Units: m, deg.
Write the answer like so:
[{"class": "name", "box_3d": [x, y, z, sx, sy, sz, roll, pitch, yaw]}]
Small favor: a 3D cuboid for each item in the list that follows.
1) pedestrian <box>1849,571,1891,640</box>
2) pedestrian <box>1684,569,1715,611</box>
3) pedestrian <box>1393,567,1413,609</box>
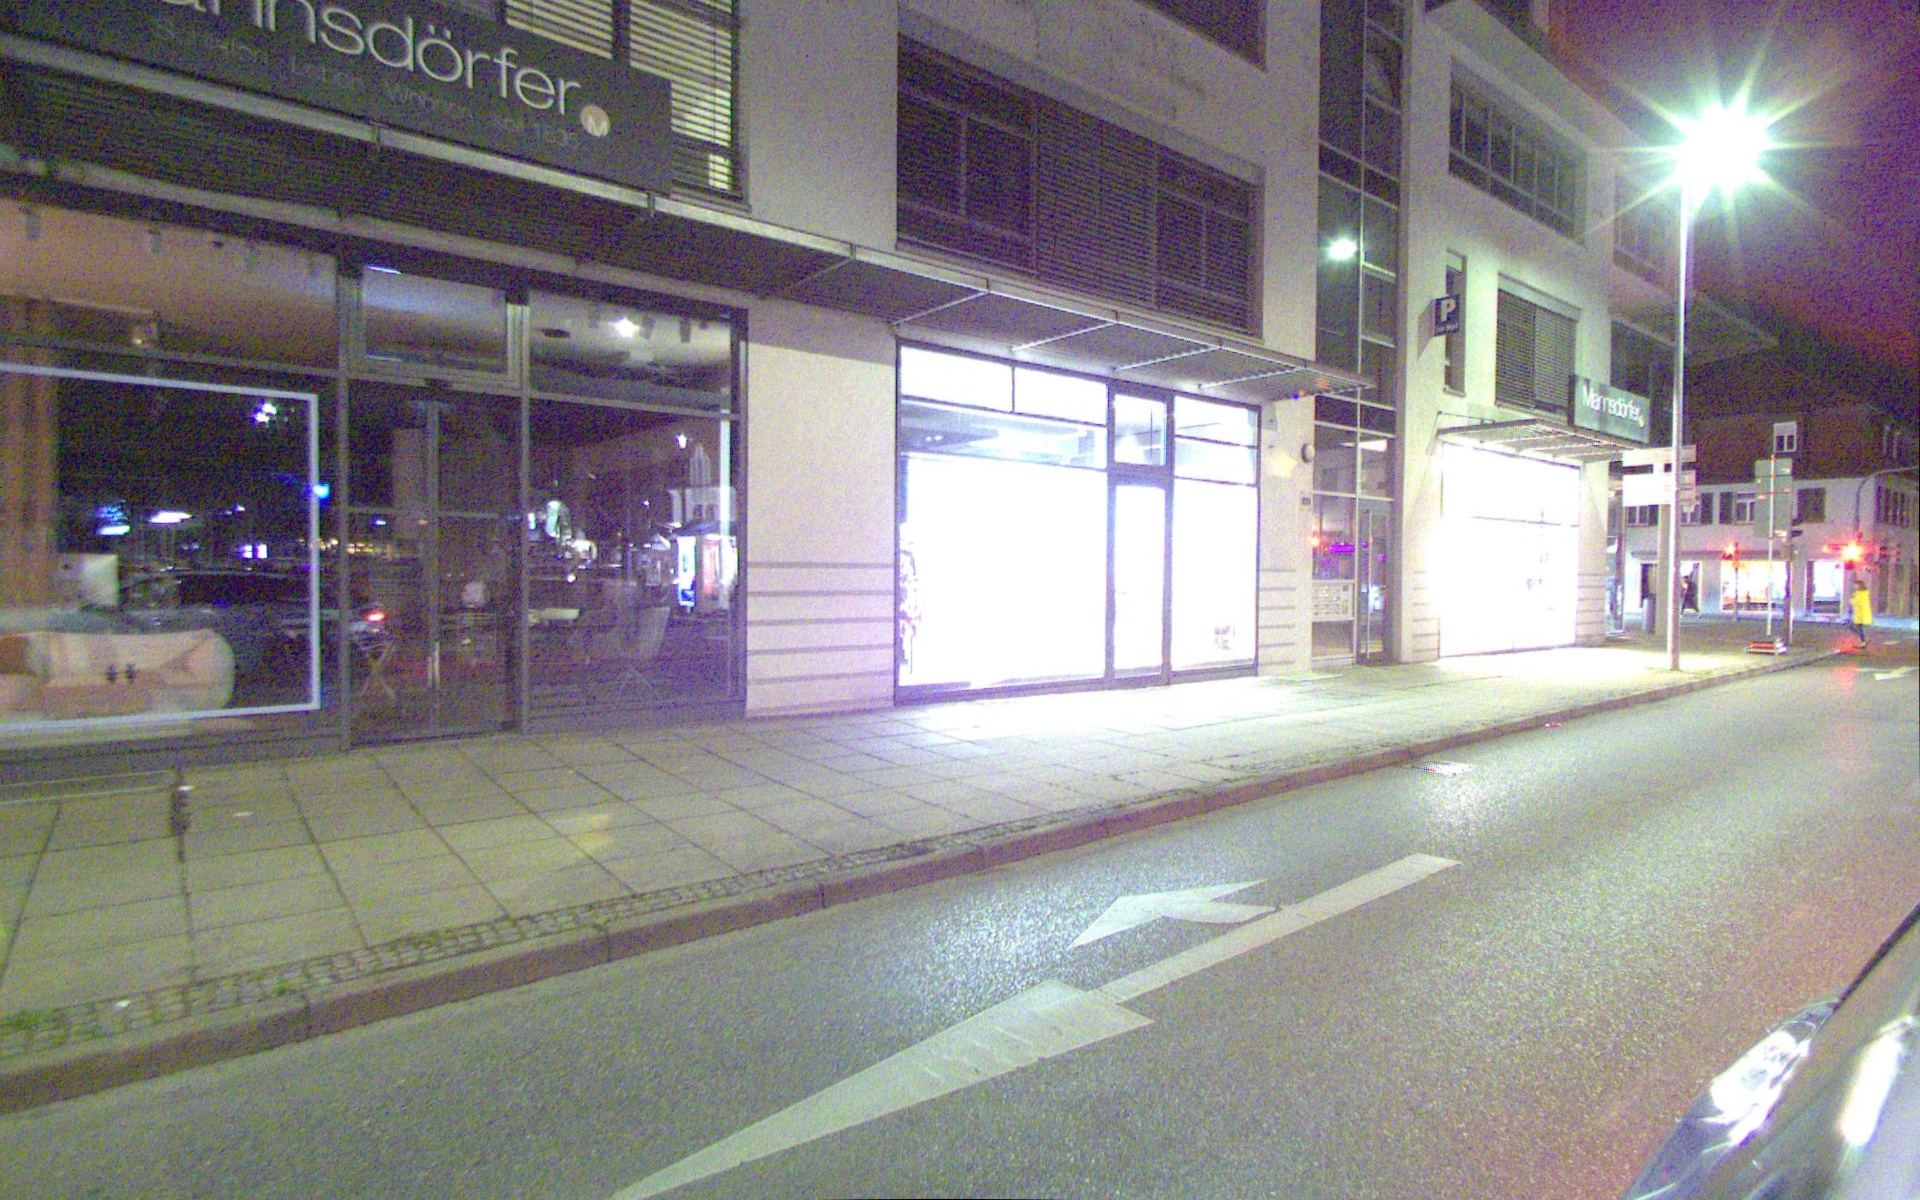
[{"class": "pedestrian", "box_3d": [22.854, 0.131, 25.411, 0.634, 1.703, 0.541, 0, 0, -19]}, {"class": "pedestrian", "box_3d": [31.478, -0.447, 43.072, 0.635, 1.755, 0.877, 0, 2, -37]}, {"class": "pedestrian", "box_3d": [18.504, -0.497, 42.262, 0.555, 1.738, 0.525, 0, 0, -33]}]
